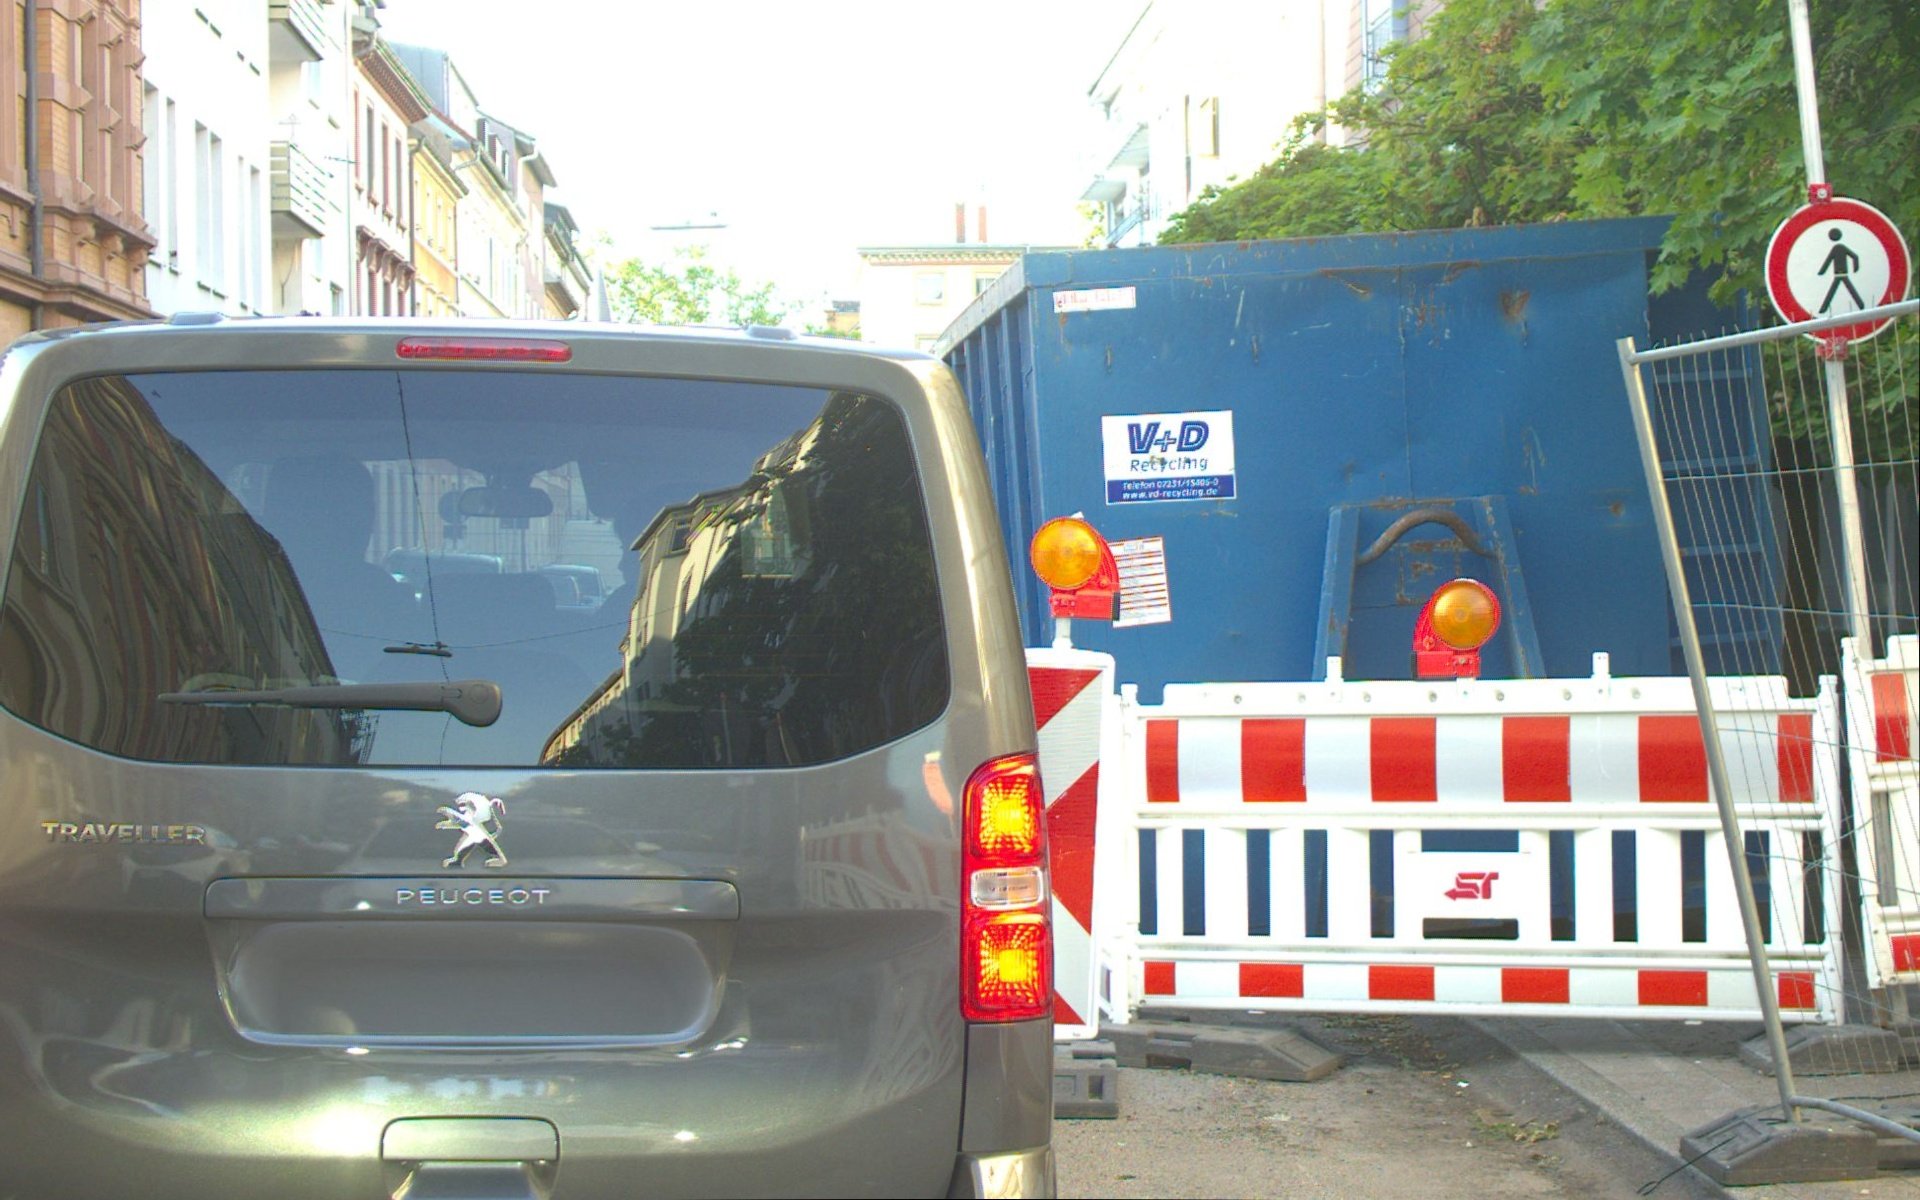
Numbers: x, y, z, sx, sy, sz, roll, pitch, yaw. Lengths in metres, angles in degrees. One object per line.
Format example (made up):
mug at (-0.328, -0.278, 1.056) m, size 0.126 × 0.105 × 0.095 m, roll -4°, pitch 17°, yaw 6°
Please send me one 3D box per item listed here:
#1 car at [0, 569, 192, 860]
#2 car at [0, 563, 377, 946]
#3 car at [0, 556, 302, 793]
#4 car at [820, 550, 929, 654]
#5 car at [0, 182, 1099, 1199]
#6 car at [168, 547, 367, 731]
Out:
car at (-5.283, 0.554, 18.818) m, size 1.632 × 1.425 × 3.556 m, roll 0°, pitch 1°, yaw -5°
car at (-3.964, 0.585, 15.467) m, size 1.993 × 1.481 × 4.000 m, roll 0°, pitch 1°, yaw 0°
car at (-5.688, 0.468, 24.347) m, size 1.555 × 1.503 × 3.598 m, roll 2°, pitch 1°, yaw -4°
car at (-1.418, -0.001, 57.686) m, size 1.749 × 1.677 × 4.526 m, roll 0°, pitch 1°, yaw -1°
car at (-0.883, 0.416, 6.838) m, size 1.857 × 2.007 × 4.001 m, roll -2°, pitch 1°, yaw -4°
car at (-6.203, 0.317, 31.007) m, size 1.395 × 1.583 × 2.794 m, roll 0°, pitch 1°, yaw -4°
